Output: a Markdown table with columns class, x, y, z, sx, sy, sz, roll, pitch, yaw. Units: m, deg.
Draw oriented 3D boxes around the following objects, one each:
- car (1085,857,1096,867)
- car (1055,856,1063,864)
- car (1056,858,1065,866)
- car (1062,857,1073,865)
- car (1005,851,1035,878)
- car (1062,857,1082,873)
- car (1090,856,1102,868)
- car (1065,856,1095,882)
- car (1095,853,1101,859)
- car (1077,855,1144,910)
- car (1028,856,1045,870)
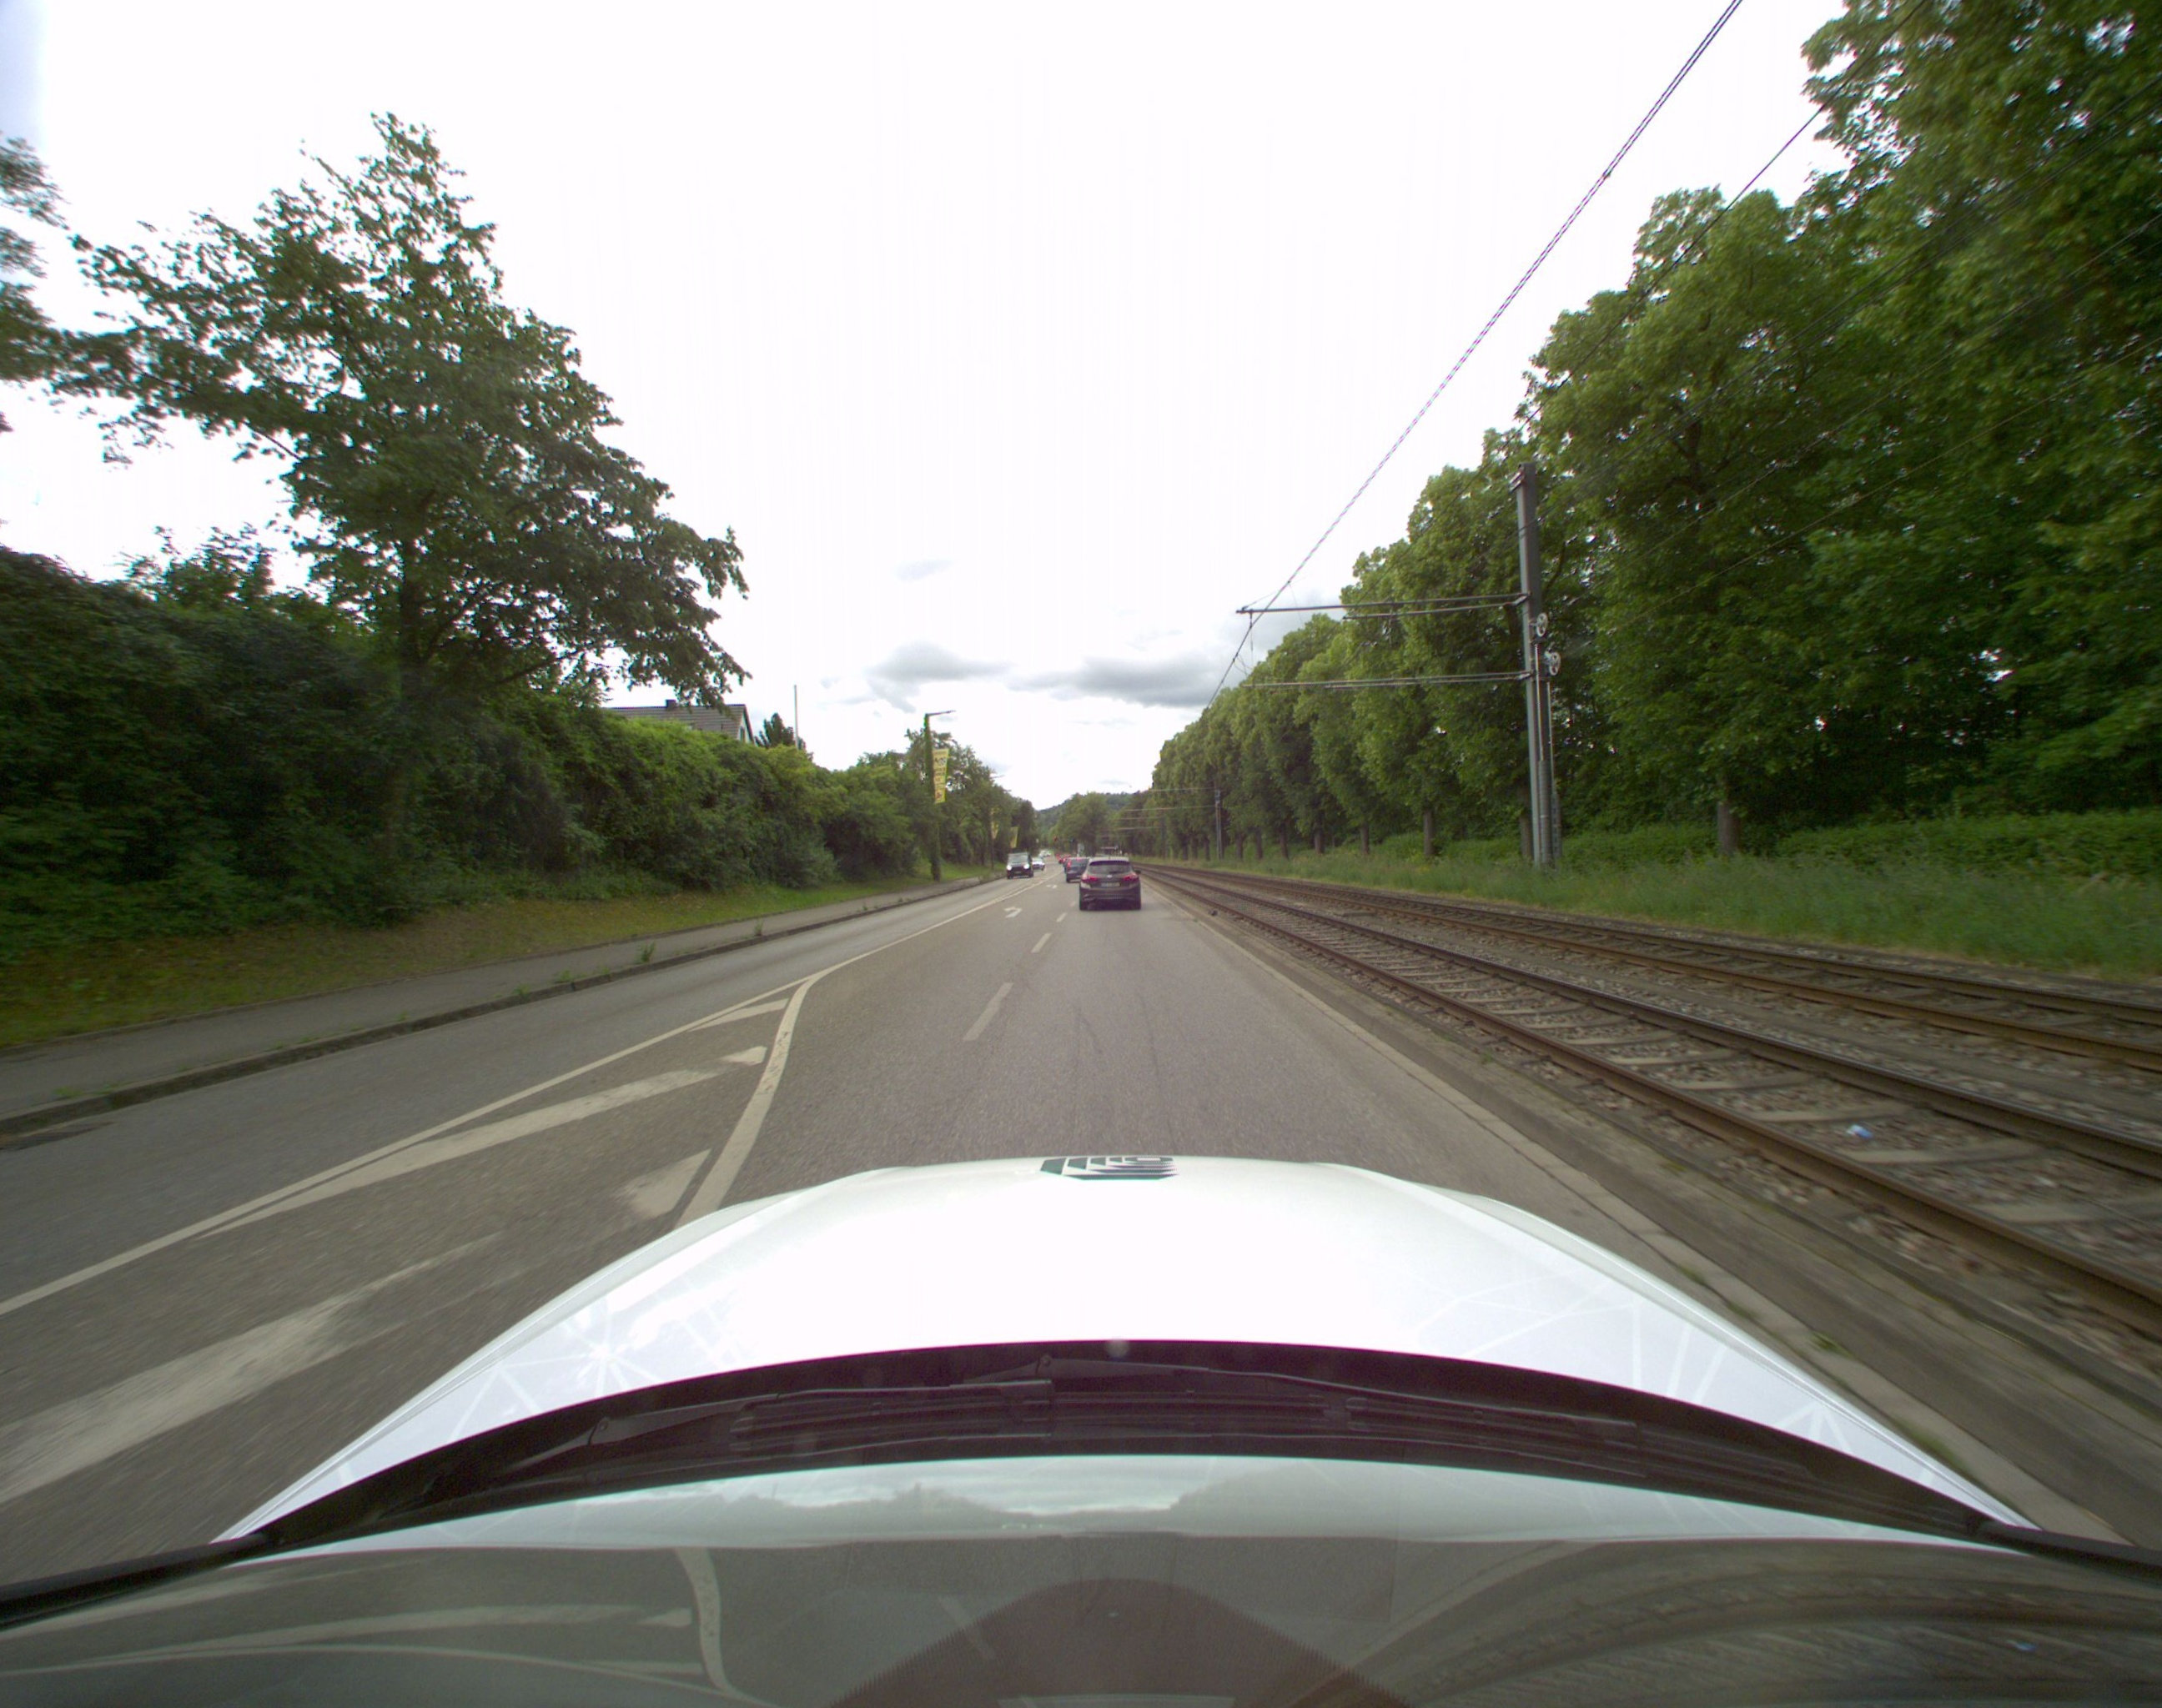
| class | x | y | z | sx | sy | sz | roll | pitch | yaw |
| --- | --- | --- | --- | --- | --- | --- | --- | --- | --- |
| car | 1.613 | 1.388 | 133.988 | 1.709 | 1.550 | 4.000 | -1 | -1 | 0 |
| car | -5.056 | 1.397 | 189.457 | 1.693 | 1.714 | 4.002 | -1 | 0 | 2 |
| car | -4.621 | 1.694 | 179.867 | 1.693 | 1.714 | 4.002 | -1 | 0 | 2 |
| car | -2.453 | 1.324 | 151.252 | 1.787 | 1.510 | 4.002 | -1 | 0 | 2 |
| car | -5.019 | 0.836 | 67.373 | 1.987 | 2.036 | 5.115 | -4 | 0 | 0 |
| car | -0.820 | 1.007 | 77.094 | 1.694 | 1.443 | 4.000 | -1 | 0 | 1 |
| car | 2.205 | 1.180 | 118.511 | 1.709 | 1.550 | 4.000 | -1 | -1 | 0 |
| car | -0.043 | 0.874 | 49.276 | 1.694 | 1.443 | 4.000 | -1 | 0 | 1 |
| car | 5.187 | 0.522 | 246.013 | 1.710 | 1.663 | 3.705 | -1 | -1 | -2 |
| car | 0.897 | 0.790 | 24.531 | 1.843 | 1.493 | 4.002 | -1 | 0 | 2 |
| car | -5.624 | 1.115 | 103.144 | 1.836 | 1.620 | 4.158 | -3 | 0 | 0 |
